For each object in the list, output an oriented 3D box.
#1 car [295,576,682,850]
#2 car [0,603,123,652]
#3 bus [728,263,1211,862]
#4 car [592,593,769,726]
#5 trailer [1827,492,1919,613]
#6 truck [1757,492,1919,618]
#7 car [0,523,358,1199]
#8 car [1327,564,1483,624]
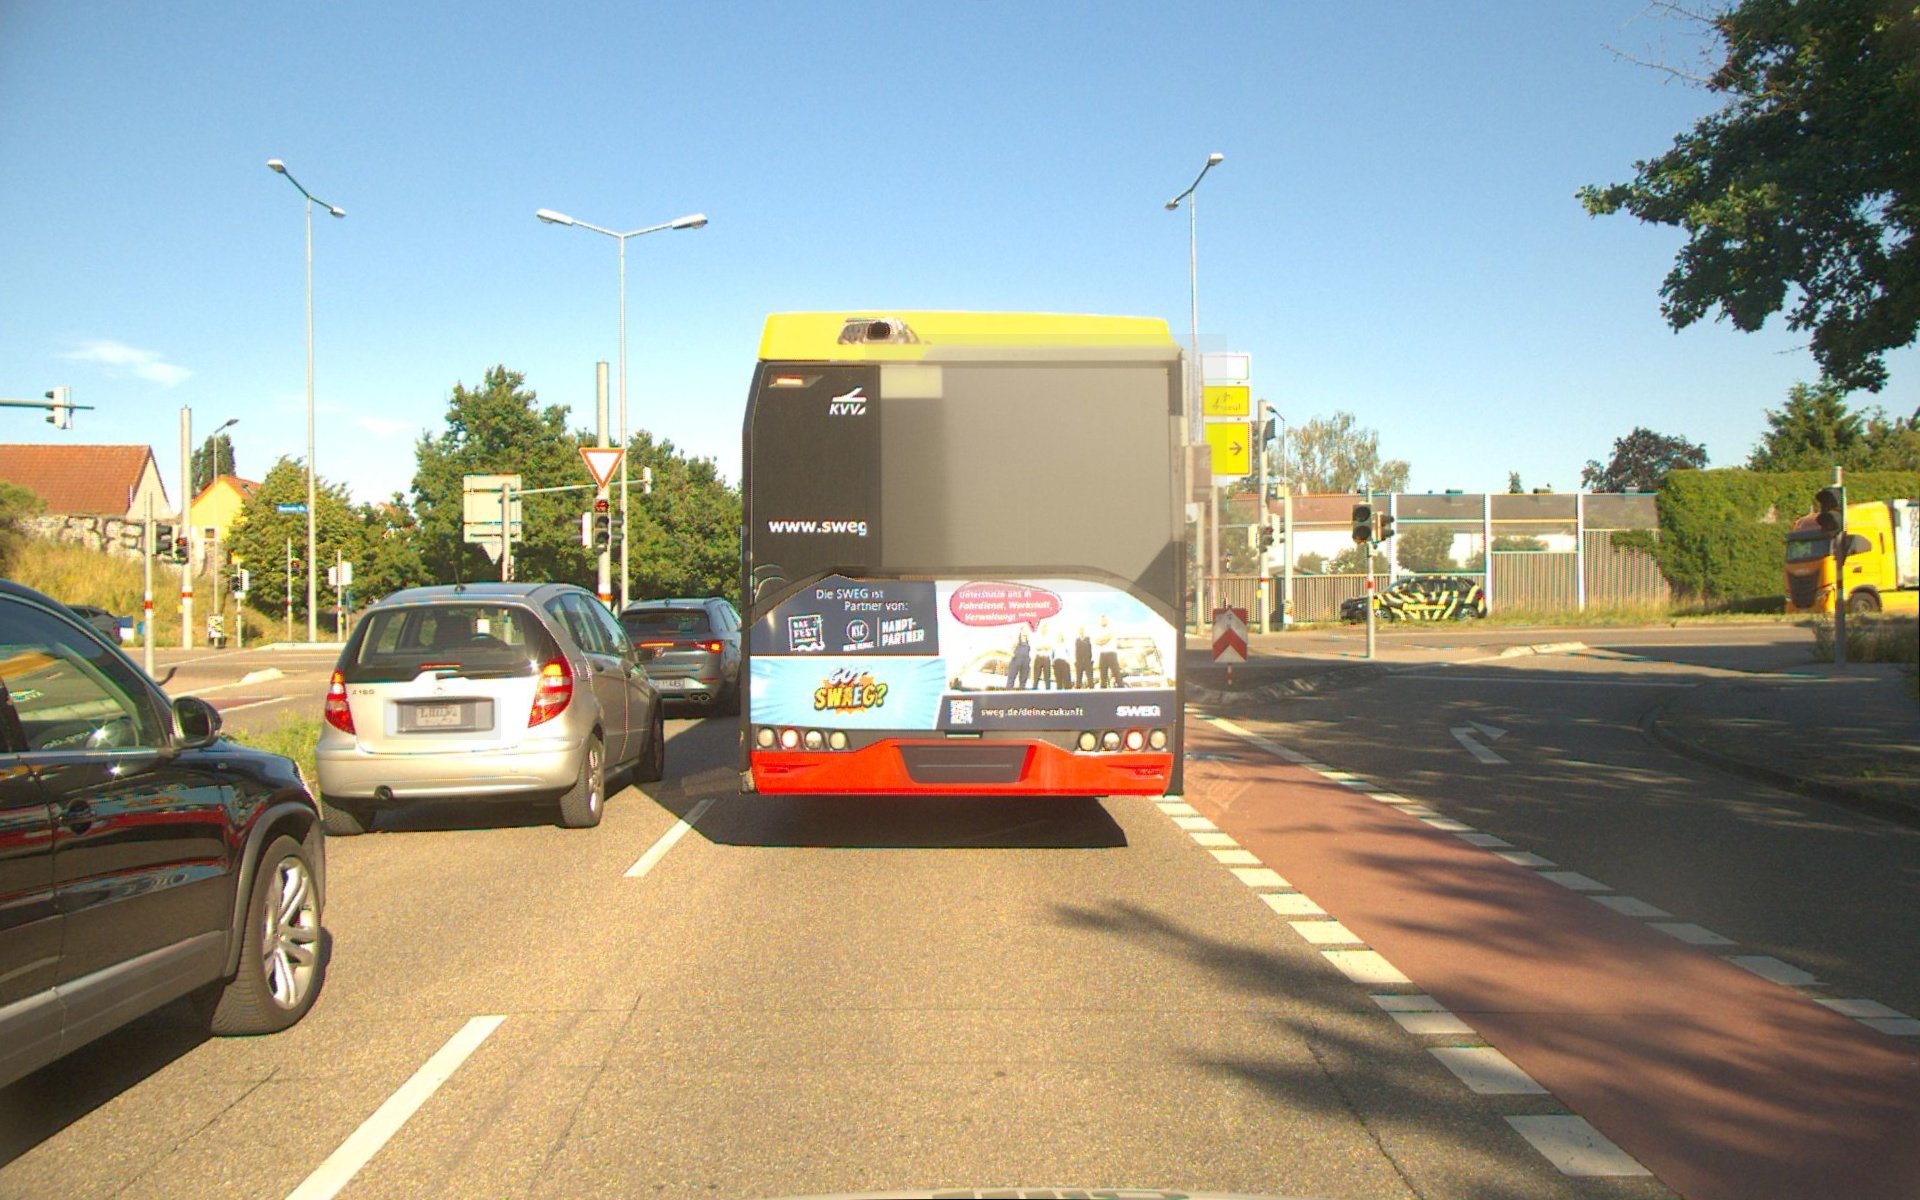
[{"bbox_3d":[-3.220,0.682,12.121,1.725,1.617,3.999,-2,0,-1],"label":"car"},{"bbox_3d":[-29.439,0.873,53.905,1.546,1.484,3.579,-1,0,37],"label":"car"},{"bbox_3d":[0.018,-0.253,14.884,2.589,3.222,11.860,0,0,0],"label":"bus"},{"bbox_3d":[-3.452,0.676,21.049,1.658,1.484,3.750,-2,0,-1],"label":"car"},{"bbox_3d":[38.492,-1.867,58.558,14.380,4.083,3.435,-2,0,-8],"label":"trailer"},{"bbox_3d":[31.866,-1.582,57.663,6.353,4.082,3.435,-3,0,-7],"label":"truck"},{"bbox_3d":[-3.147,0.686,4.294,1.736,1.682,3.999,-2,0,-1],"label":"car"},{"bbox_3d":[12.896,-0.171,48.053,3.988,1.552,1.766,-2,0,-6],"label":"car"}]
